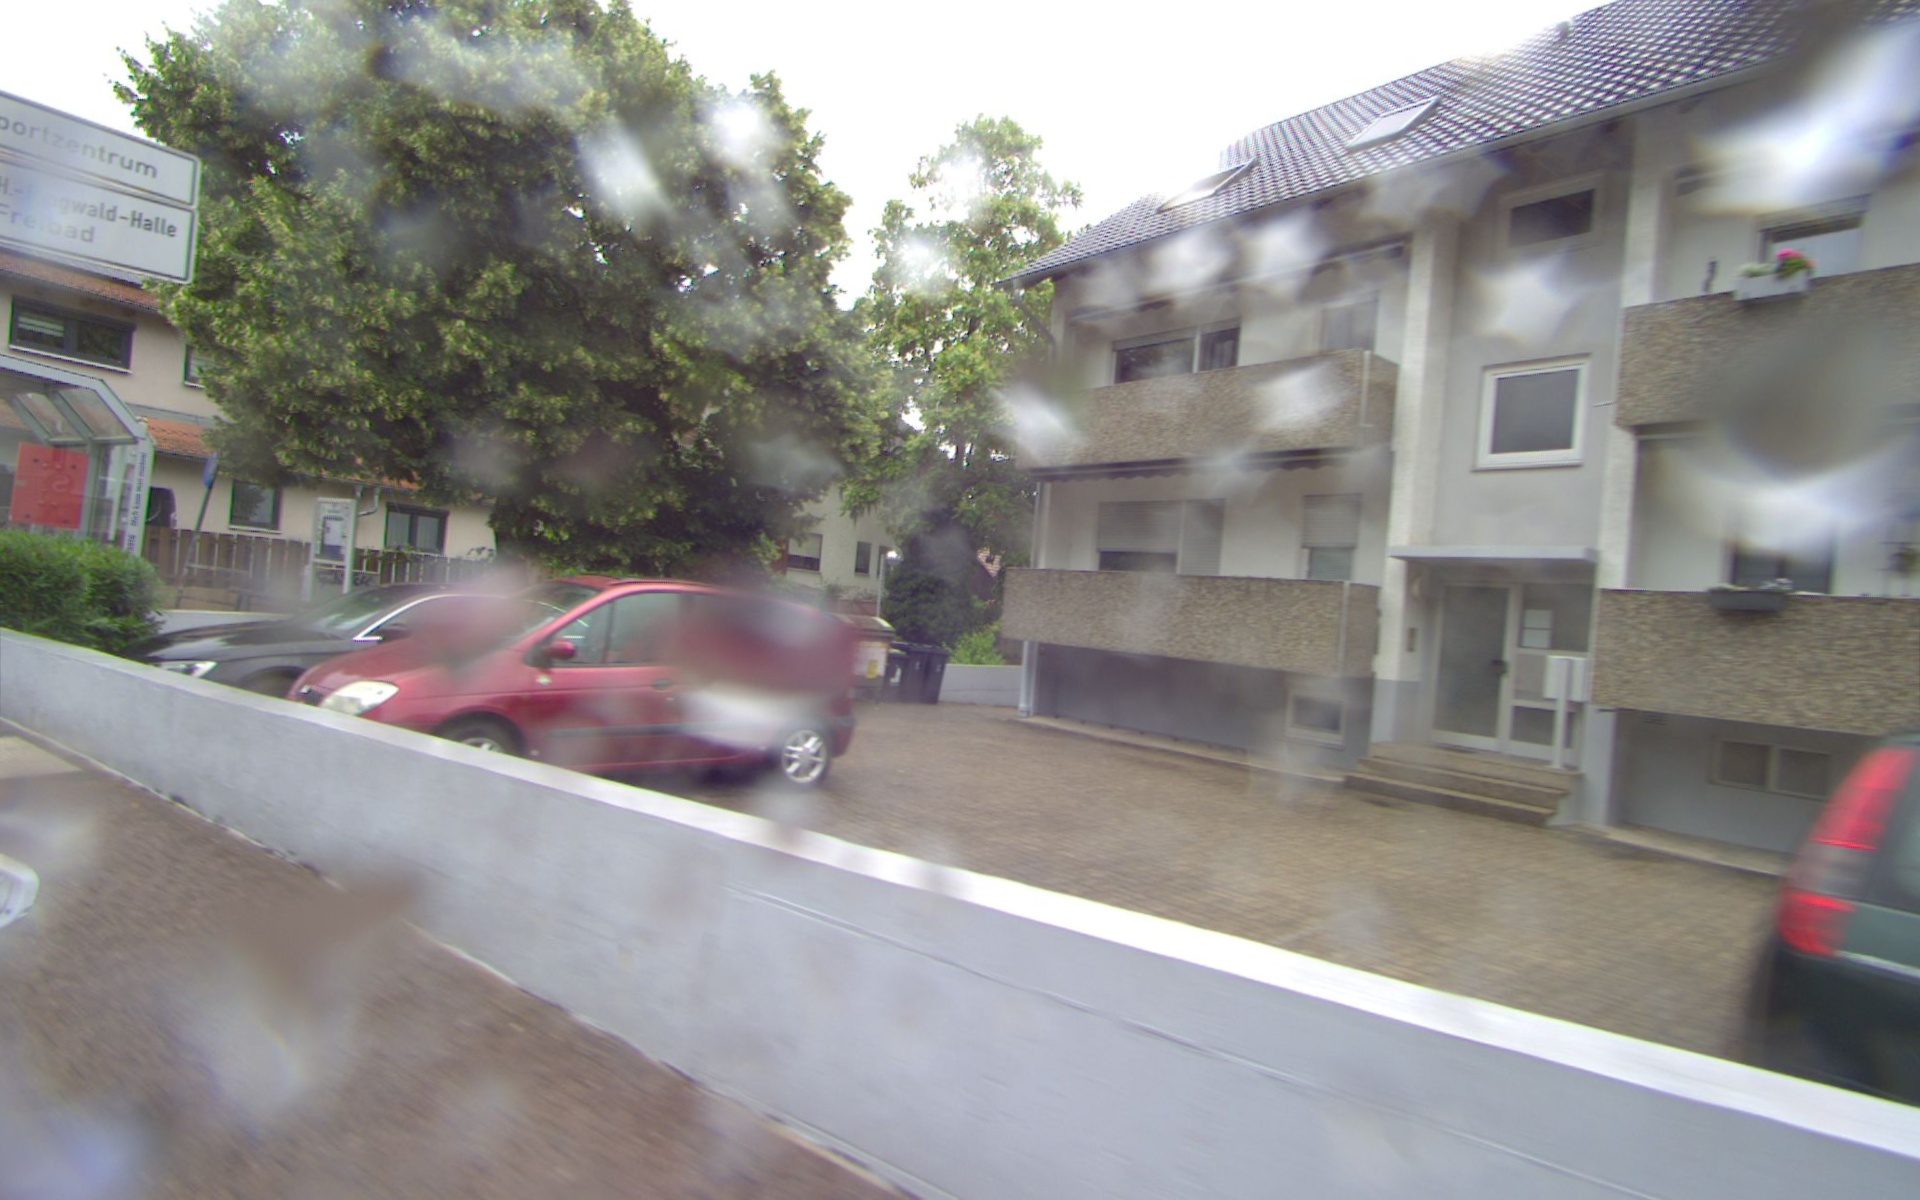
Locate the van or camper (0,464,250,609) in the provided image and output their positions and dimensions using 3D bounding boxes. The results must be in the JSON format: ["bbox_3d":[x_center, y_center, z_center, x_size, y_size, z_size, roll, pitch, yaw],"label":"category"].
[{"bbox_3d":[-15.337,-1.131,16.953,1.844,1.945,5.083,6,-3,28],"label":"van or camper"}]

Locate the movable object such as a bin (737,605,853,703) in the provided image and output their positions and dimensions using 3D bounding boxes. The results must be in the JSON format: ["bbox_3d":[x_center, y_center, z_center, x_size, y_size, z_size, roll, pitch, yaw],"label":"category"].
[{"bbox_3d":[-2.600,0.863,15.927,1.136,1.373,1.243,6,-1,33],"label":"movable object such as a bin"}]

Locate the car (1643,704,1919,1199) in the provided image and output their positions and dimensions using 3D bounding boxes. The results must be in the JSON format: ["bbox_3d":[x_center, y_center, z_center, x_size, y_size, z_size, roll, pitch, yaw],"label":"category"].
[{"bbox_3d":[3.645,1.222,3.090,4.214,1.498,1.674,7,-1,-43],"label":"car"}]

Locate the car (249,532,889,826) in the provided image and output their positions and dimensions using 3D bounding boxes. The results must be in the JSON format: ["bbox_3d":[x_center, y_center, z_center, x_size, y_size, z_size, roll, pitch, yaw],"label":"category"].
[{"bbox_3d":[-2.732,0.579,7.654,4.057,1.609,1.834,7,-1,-45],"label":"car"}]

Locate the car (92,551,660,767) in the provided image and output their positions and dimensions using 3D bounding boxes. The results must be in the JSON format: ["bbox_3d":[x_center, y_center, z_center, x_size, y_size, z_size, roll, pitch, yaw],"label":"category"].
[{"bbox_3d":[-4.917,0.524,8.940,1.726,1.395,3.947,6,0,39],"label":"car"}]
